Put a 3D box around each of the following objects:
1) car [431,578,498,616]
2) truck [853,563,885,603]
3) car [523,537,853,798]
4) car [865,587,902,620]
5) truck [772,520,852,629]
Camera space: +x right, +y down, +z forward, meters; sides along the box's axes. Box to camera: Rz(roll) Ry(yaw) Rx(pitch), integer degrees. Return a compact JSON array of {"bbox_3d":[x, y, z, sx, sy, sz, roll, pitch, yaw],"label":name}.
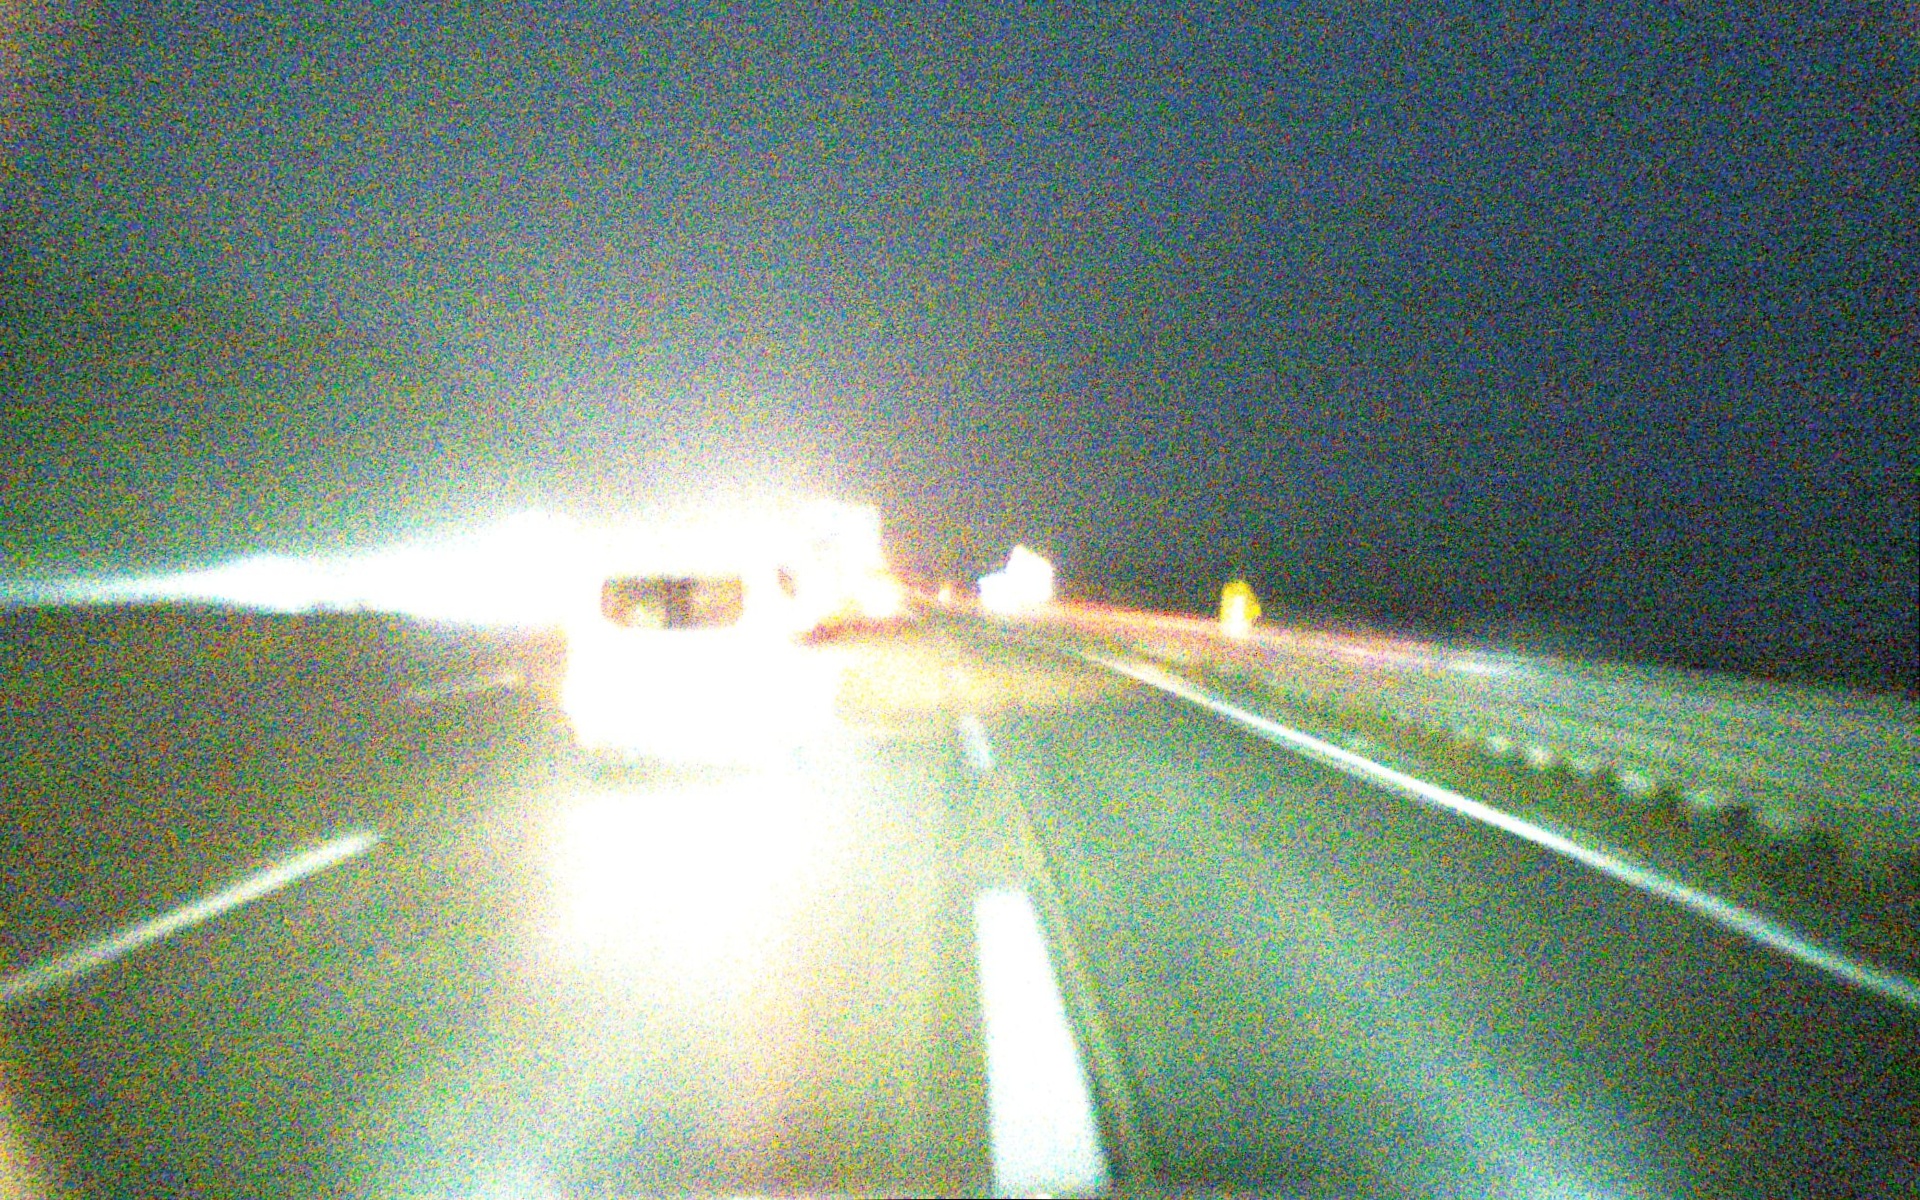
[{"bbox_3d":[-23.411,-0.137,78.280,1.953,1.671,4.252,2,0,-2],"label":"car"},{"bbox_3d":[-11.874,-2.150,215.391,3.749,5.001,11.596,2,0,-4],"label":"truck"},{"bbox_3d":[-2.131,0.444,14.497,1.913,1.823,5.125,2,1,1],"label":"car"},{"bbox_3d":[-4.367,0.185,94.087,1.954,1.736,4.192,2,0,-5],"label":"car"},{"bbox_3d":[-8.299,-1.366,94.082,4.085,5.641,13.063,2,0,-4],"label":"truck"}]
